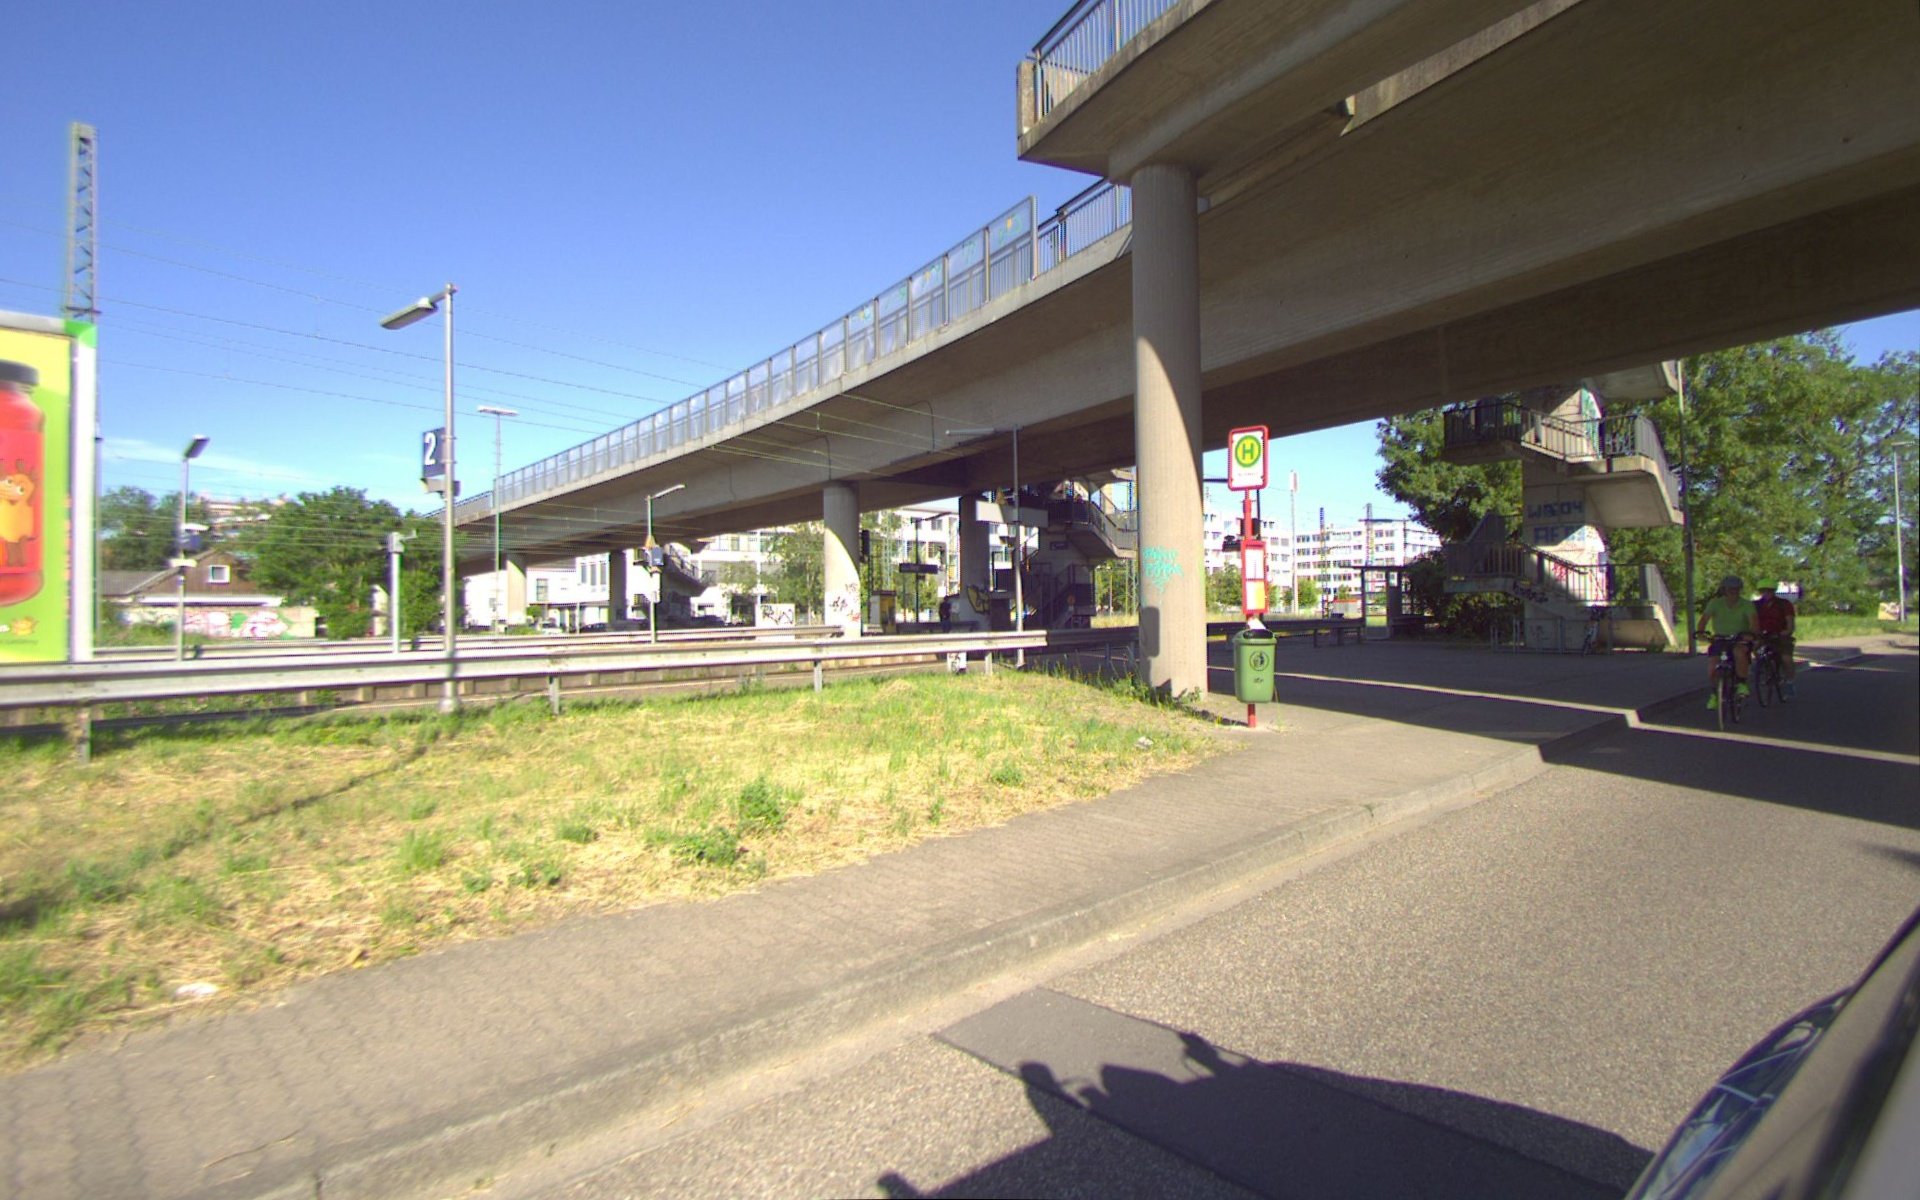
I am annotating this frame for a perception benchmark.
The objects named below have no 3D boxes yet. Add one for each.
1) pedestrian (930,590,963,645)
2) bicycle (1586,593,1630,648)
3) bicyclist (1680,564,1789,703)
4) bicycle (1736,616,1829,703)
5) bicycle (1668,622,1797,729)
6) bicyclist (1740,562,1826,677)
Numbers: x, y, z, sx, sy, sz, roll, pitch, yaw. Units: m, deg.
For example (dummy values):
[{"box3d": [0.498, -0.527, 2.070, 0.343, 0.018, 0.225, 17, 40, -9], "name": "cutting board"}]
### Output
[{"box3d": [-0.489, 0.640, 37.486, 0.892, 2.039, 0.823, -1, -1, 43], "name": "pedestrian"}, {"box3d": [15.009, 0.445, 23.411, 0.596, 1.197, 2.150, -1, 0, 39], "name": "bicycle"}, {"box3d": [8.876, 0.363, 11.602, 0.908, 1.507, 0.841, 0, -1, -44], "name": "bicyclist"}, {"box3d": [11.314, 0.775, 13.893, 0.840, 1.065, 2.156, -1, -1, 43], "name": "bicycle"}, {"box3d": [8.871, 0.811, 11.584, 2.153, 1.065, 0.841, 0, -1, -44], "name": "bicycle"}, {"box3d": [11.303, 0.262, 13.895, 0.840, 1.507, 0.909, -1, -1, 43], "name": "bicyclist"}]
